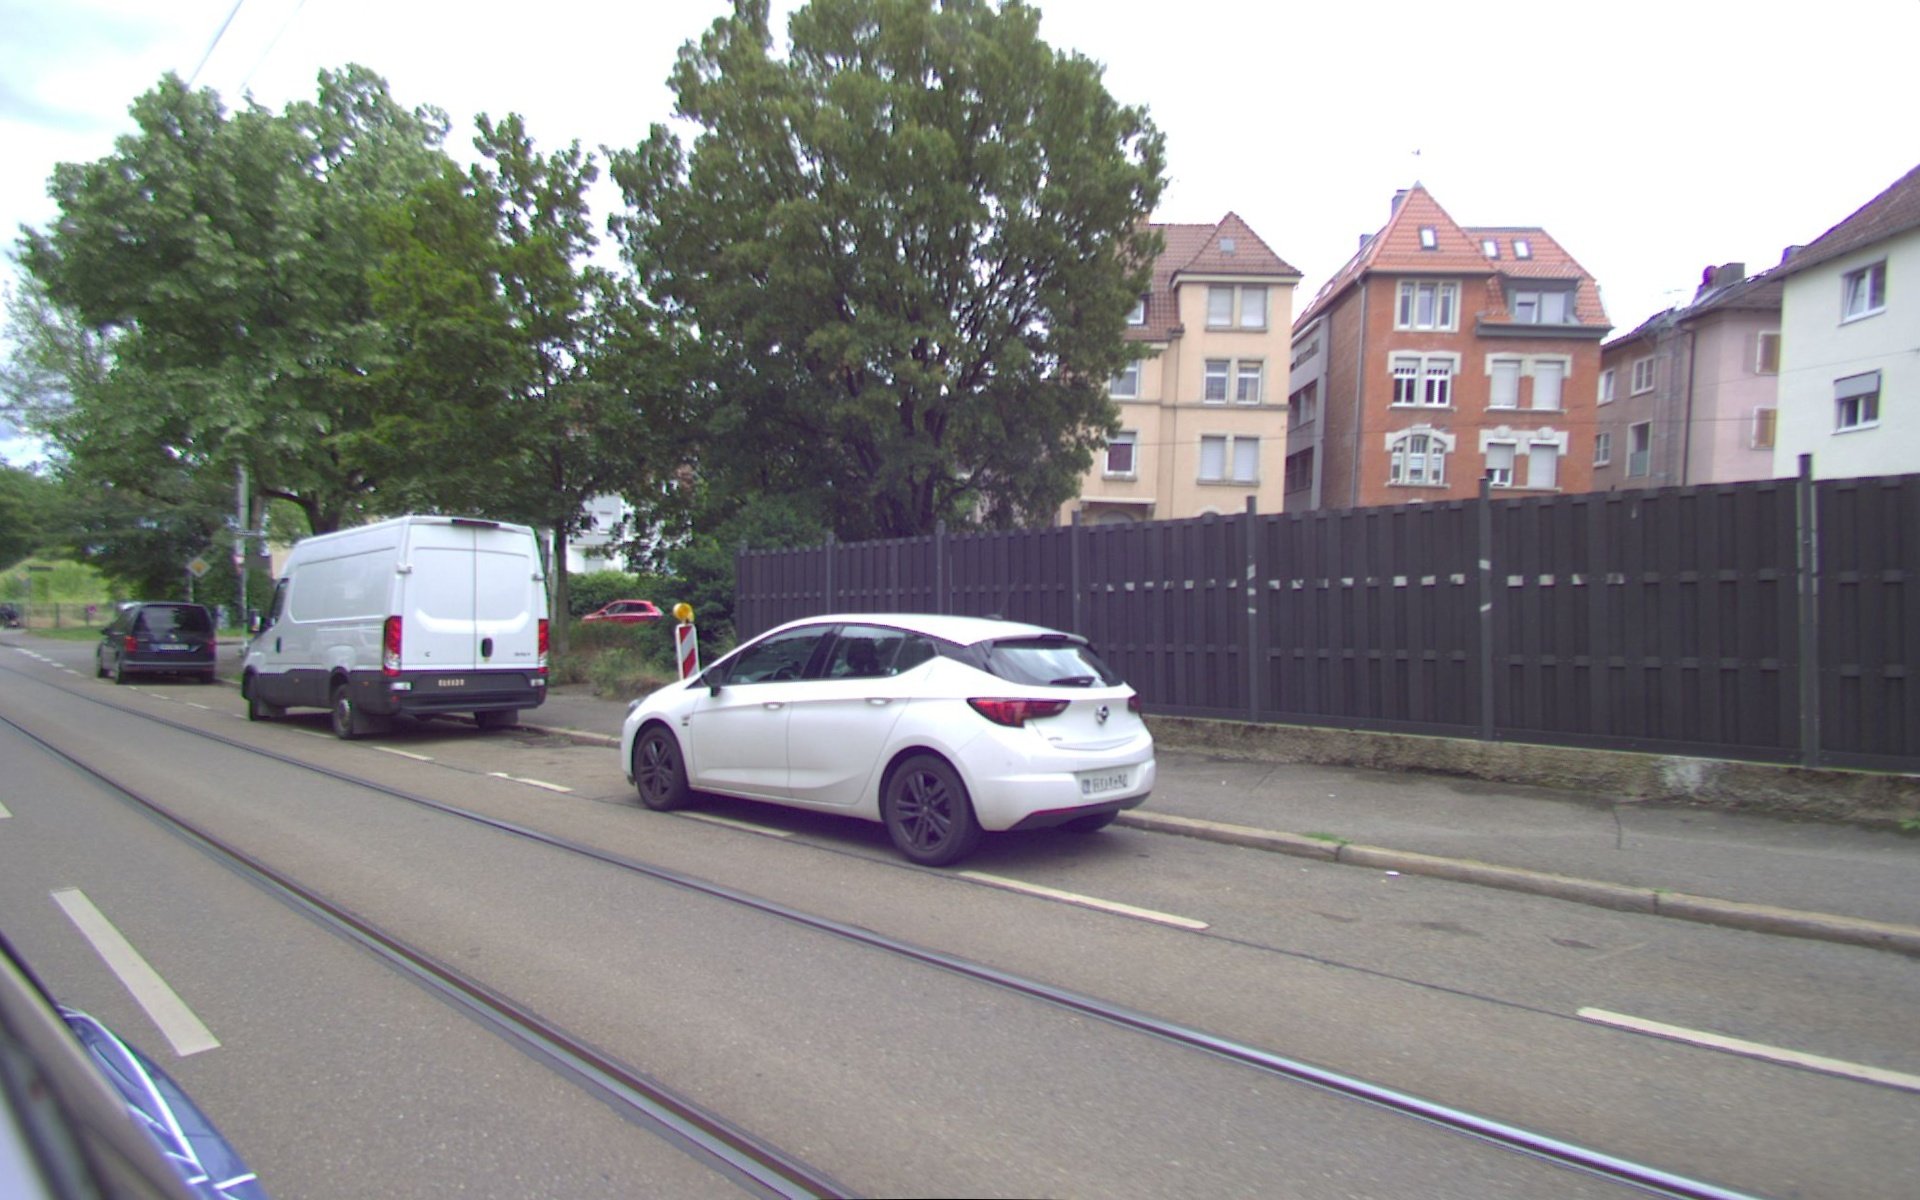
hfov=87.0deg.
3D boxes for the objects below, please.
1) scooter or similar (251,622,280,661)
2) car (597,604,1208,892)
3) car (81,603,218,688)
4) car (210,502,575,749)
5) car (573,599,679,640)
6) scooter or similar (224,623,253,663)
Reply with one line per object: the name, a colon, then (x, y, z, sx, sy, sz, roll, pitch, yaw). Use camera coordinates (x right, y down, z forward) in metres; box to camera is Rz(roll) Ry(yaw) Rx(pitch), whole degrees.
scooter or similar: (-21.228, 1.265, 30.903, 1.717, 1.154, 0.308, -3, -1, 42)
car: (-0.630, 0.803, 7.069, 4.311, 1.413, 1.701, -1, -4, 41)
car: (-18.883, 1.027, 23.502, 4.668, 1.789, 1.743, -1, -4, 43)
car: (-7.837, 0.362, 13.620, 6.213, 2.627, 2.136, -1, -3, 40)
car: (-13.065, 0.759, 39.682, 3.568, 1.489, 1.748, -1, 1, 5)
scooter or similar: (-21.539, 1.282, 30.188, 1.717, 1.154, 0.308, -3, -1, 42)
